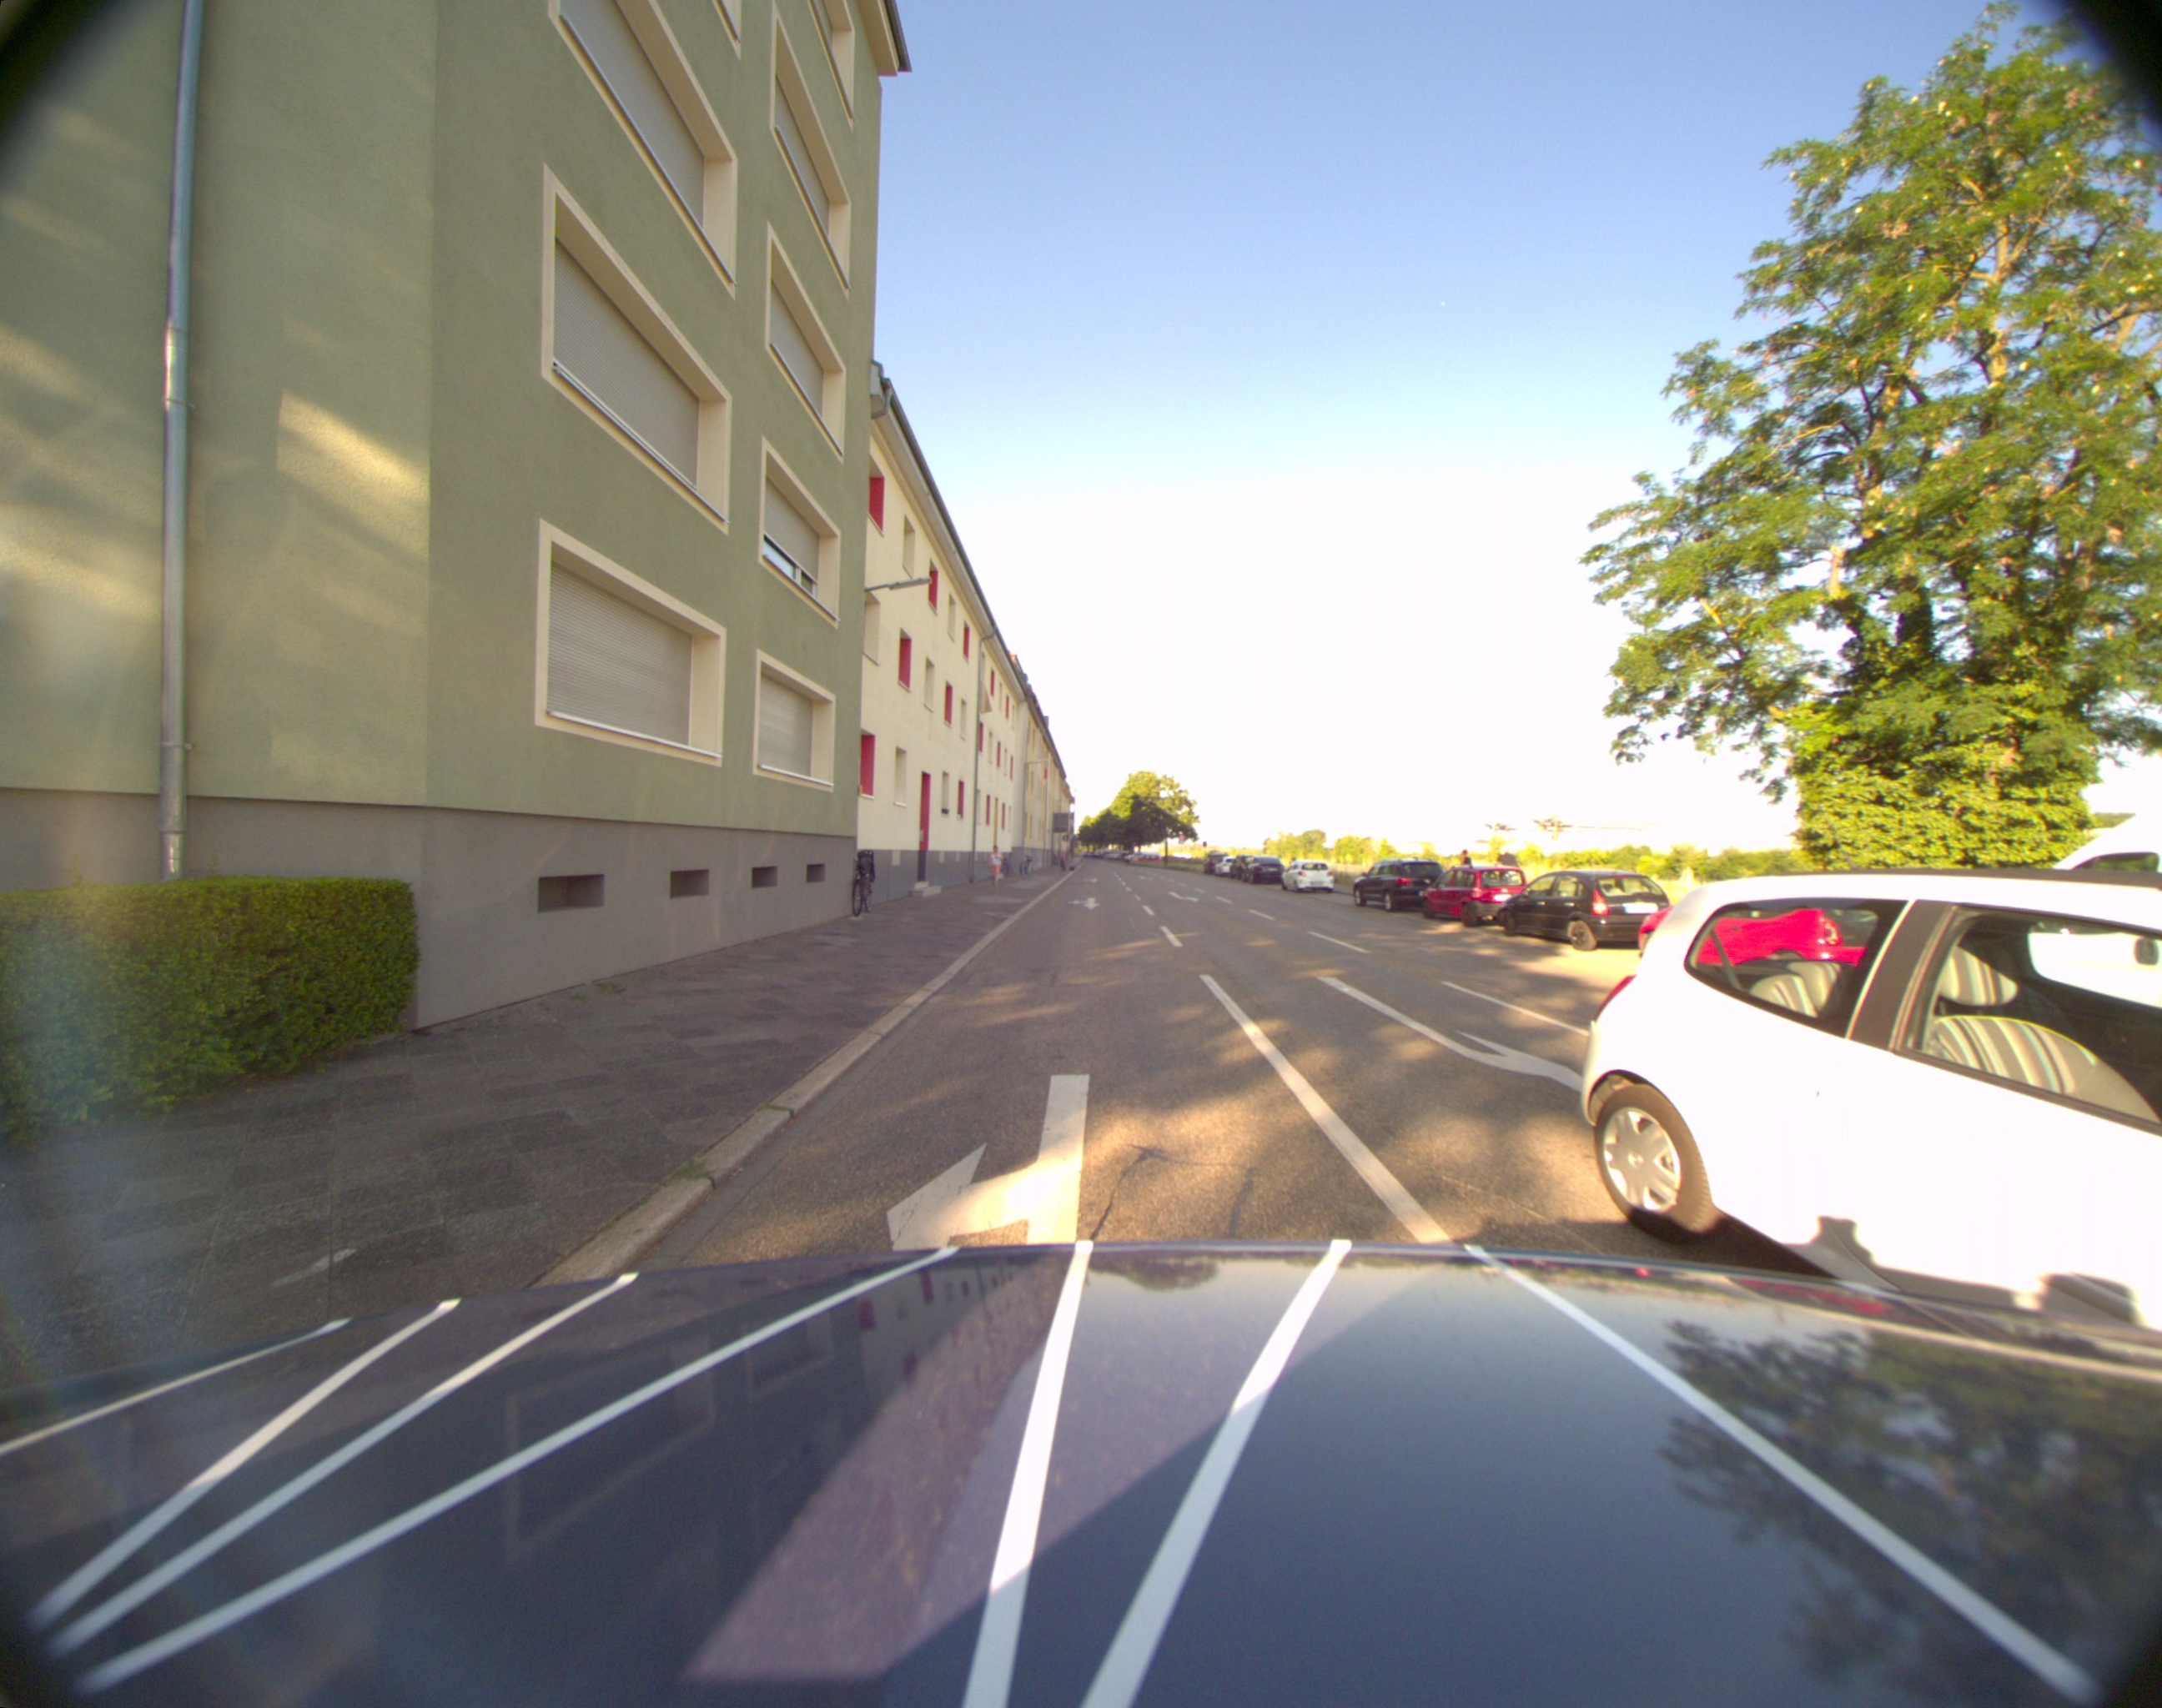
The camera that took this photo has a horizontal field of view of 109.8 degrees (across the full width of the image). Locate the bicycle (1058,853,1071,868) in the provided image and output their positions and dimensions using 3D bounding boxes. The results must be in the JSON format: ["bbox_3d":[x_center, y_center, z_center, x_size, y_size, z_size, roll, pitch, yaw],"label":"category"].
[{"bbox_3d":[-1.245,0.492,56.847,0.651,1.091,2.201,1,1,-8],"label":"bicycle"}]

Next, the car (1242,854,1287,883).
[{"bbox_3d":[10.573,0.812,44.007,1.823,1.517,4.291,2,0,5],"label":"car"}]

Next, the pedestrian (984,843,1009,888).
[{"bbox_3d":[-3.251,0.432,29.274,0.787,1.697,0.950,3,1,1],"label":"pedestrian"}]

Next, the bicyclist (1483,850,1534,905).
[{"bbox_3d":[12.944,0.697,23.038,0.866,1.587,1.146,2,1,1],"label":"bicyclist"}]

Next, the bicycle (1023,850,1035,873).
[{"bbox_3d":[-3.161,0.433,46.311,0.517,1.318,2.210,2,1,2],"label":"bicycle"}]

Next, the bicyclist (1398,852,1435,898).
[{"bbox_3d":[11.927,0.725,27.049,0.768,1.587,1.146,2,1,2],"label":"bicyclist"}]

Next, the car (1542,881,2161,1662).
[{"bbox_3d":[3.012,0.893,1.614,1.705,1.460,3.775,2,1,-1],"label":"car"}]

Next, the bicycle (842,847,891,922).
[{"bbox_3d":[-4.309,0.575,15.375,0.517,1.404,1.873,2,1,-3],"label":"bicycle"}]

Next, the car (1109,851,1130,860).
[{"bbox_3d":[7.494,0.257,149.738,3.997,1.708,2.000,2,1,-1],"label":"car"}]

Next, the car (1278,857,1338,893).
[{"bbox_3d":[10.412,0.920,35.074,1.706,1.517,3.583,2,1,1],"label":"car"}]

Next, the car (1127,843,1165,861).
[{"bbox_3d":[9.527,-0.295,112.246,5.322,2.398,2.266,-2,1,0],"label":"car"}]

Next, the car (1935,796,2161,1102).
[{"bbox_3d":[9.687,0.746,4.824,2.235,2.422,5.559,-1,1,-1],"label":"car"}]

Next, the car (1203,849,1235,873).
[{"bbox_3d":[11.005,0.524,60.985,1.890,1.765,4.220,2,1,2],"label":"car"}]

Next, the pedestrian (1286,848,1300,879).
[{"bbox_3d":[13.806,0.620,49.522,0.706,2.002,0.710,2,1,2],"label":"pedestrian"}]

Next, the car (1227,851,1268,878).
[{"bbox_3d":[10.850,0.682,49.708,1.823,1.628,4.220,2,1,2],"label":"car"}]

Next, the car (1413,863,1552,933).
[{"bbox_3d":[10.263,1.062,19.732,1.664,1.521,3.579,2,1,0],"label":"car"}]

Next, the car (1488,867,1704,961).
[{"bbox_3d":[10.170,1.104,15.416,1.745,1.521,3.816,2,1,0],"label":"car"}]

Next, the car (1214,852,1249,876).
[{"bbox_3d":[10.856,0.707,55.100,1.823,1.565,4.220,2,0,2],"label":"car"}]

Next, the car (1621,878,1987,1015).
[{"bbox_3d":[10.067,1.177,11.046,1.745,1.478,3.694,2,1,0],"label":"car"}]

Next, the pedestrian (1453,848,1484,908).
[{"bbox_3d":[13.205,0.801,25.927,0.615,2.002,0.730,2,1,-1],"label":"pedestrian"}]

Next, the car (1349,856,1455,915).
[{"bbox_3d":[10.142,0.948,24.353,1.664,1.649,4.005,2,1,0],"label":"car"}]

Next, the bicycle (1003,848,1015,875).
[{"bbox_3d":[-3.931,0.382,41.379,0.517,1.404,1.873,2,1,-3],"label":"bicycle"}]

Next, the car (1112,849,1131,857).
[{"bbox_3d":[9.203,-0.217,173.169,3.997,1.708,2.000,2,1,-1],"label":"car"}]
